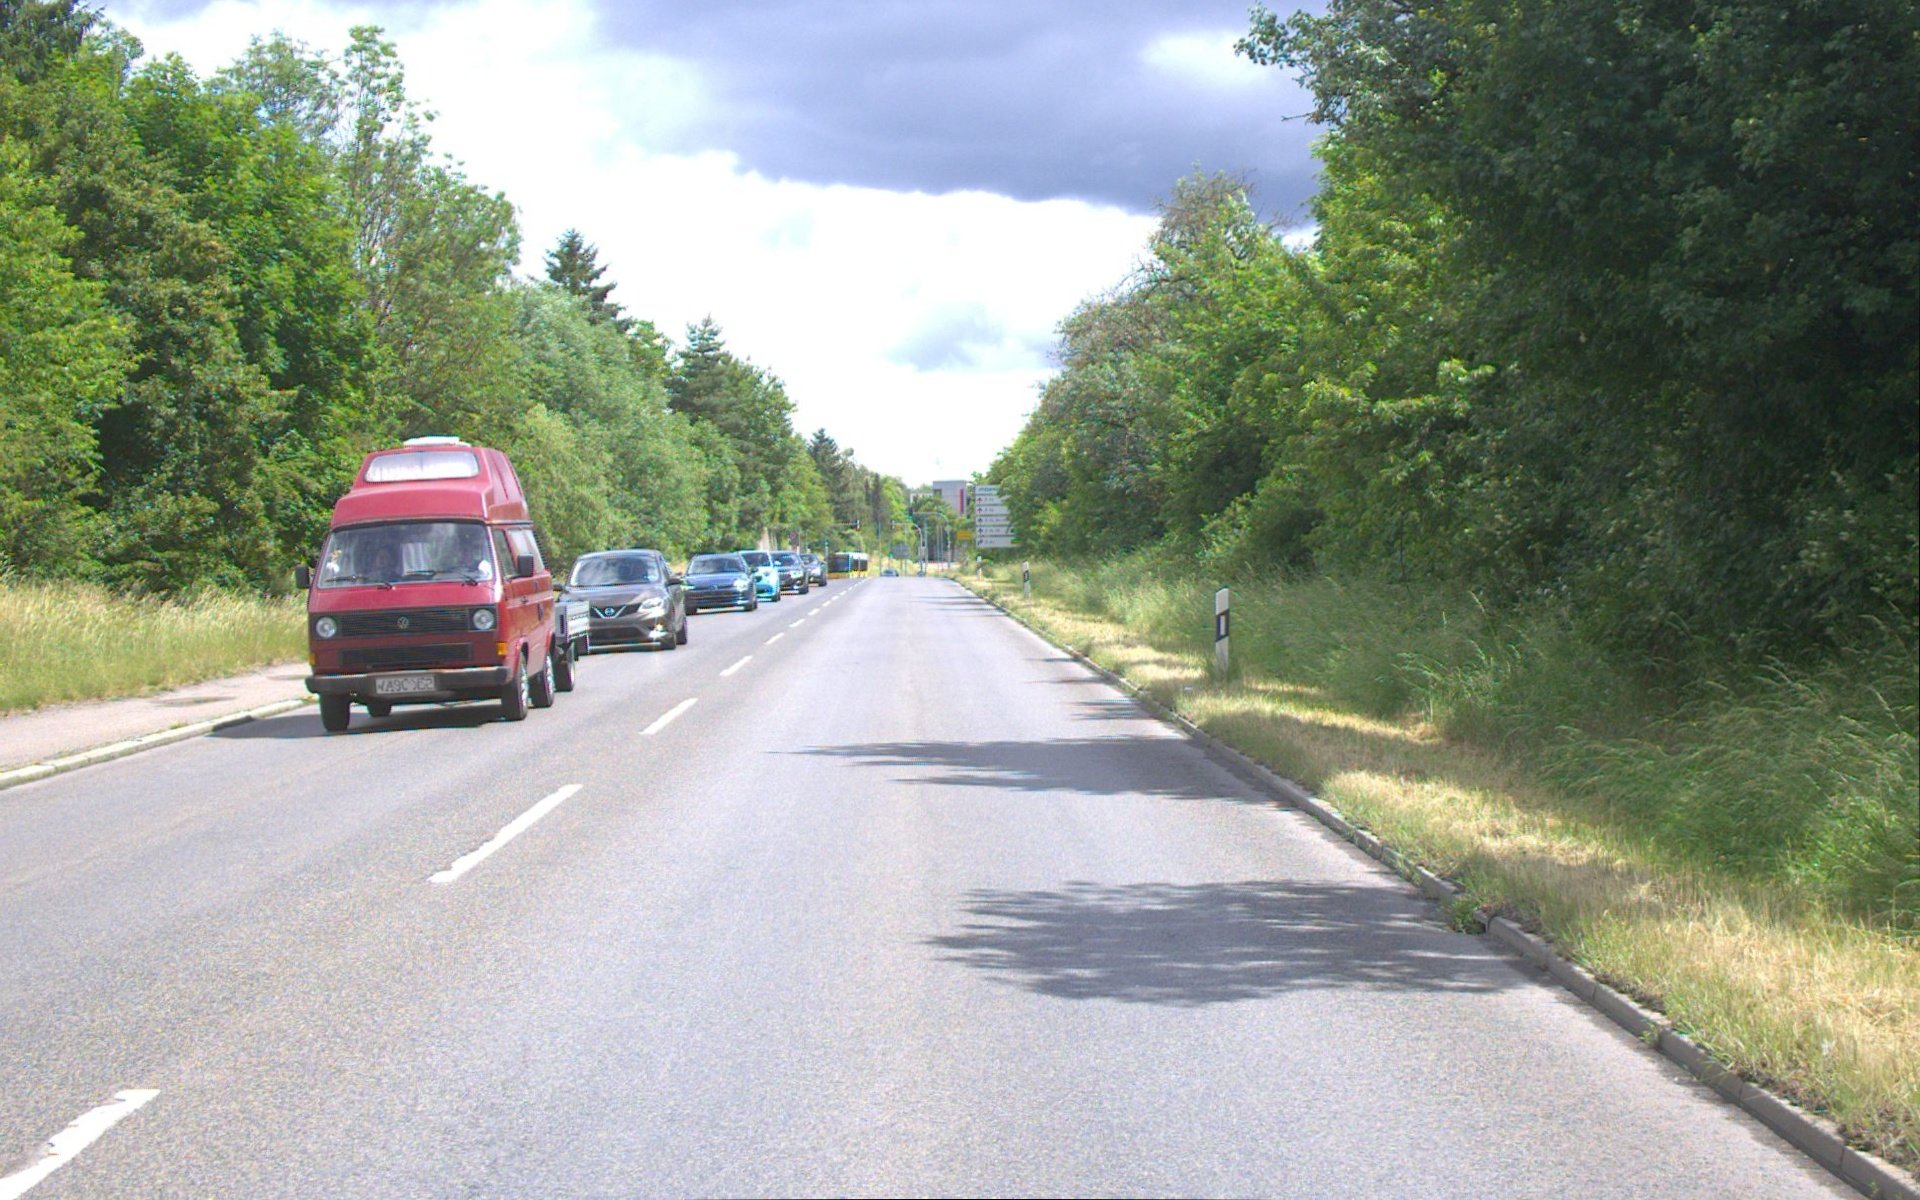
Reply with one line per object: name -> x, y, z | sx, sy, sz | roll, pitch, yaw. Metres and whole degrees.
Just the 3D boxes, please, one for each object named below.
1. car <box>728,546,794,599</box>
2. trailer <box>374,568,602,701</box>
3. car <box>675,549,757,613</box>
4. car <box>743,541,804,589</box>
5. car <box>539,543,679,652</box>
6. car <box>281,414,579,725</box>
car -> -5.794, -0.814, 100.554 | 1.784, 1.441, 2.967 | -3, 1, -2
trailer -> -4.942, 0.327, 36.484 | 1.891, 1.196, 3.917 | -3, 1, -1
car -> -5.965, -0.486, 84.384 | 1.784, 1.441, 4.453 | -3, 1, -2
car -> -6.285, -1.205, 116.430 | 1.884, 1.486, 4.718 | -3, 1, -2
car -> -5.219, -0.075, 51.553 | 1.716, 1.466, 4.000 | -3, 1, -2
car -> -4.774, -0.299, 31.637 | 1.969, 2.541, 4.725 | -3, 1, -1
